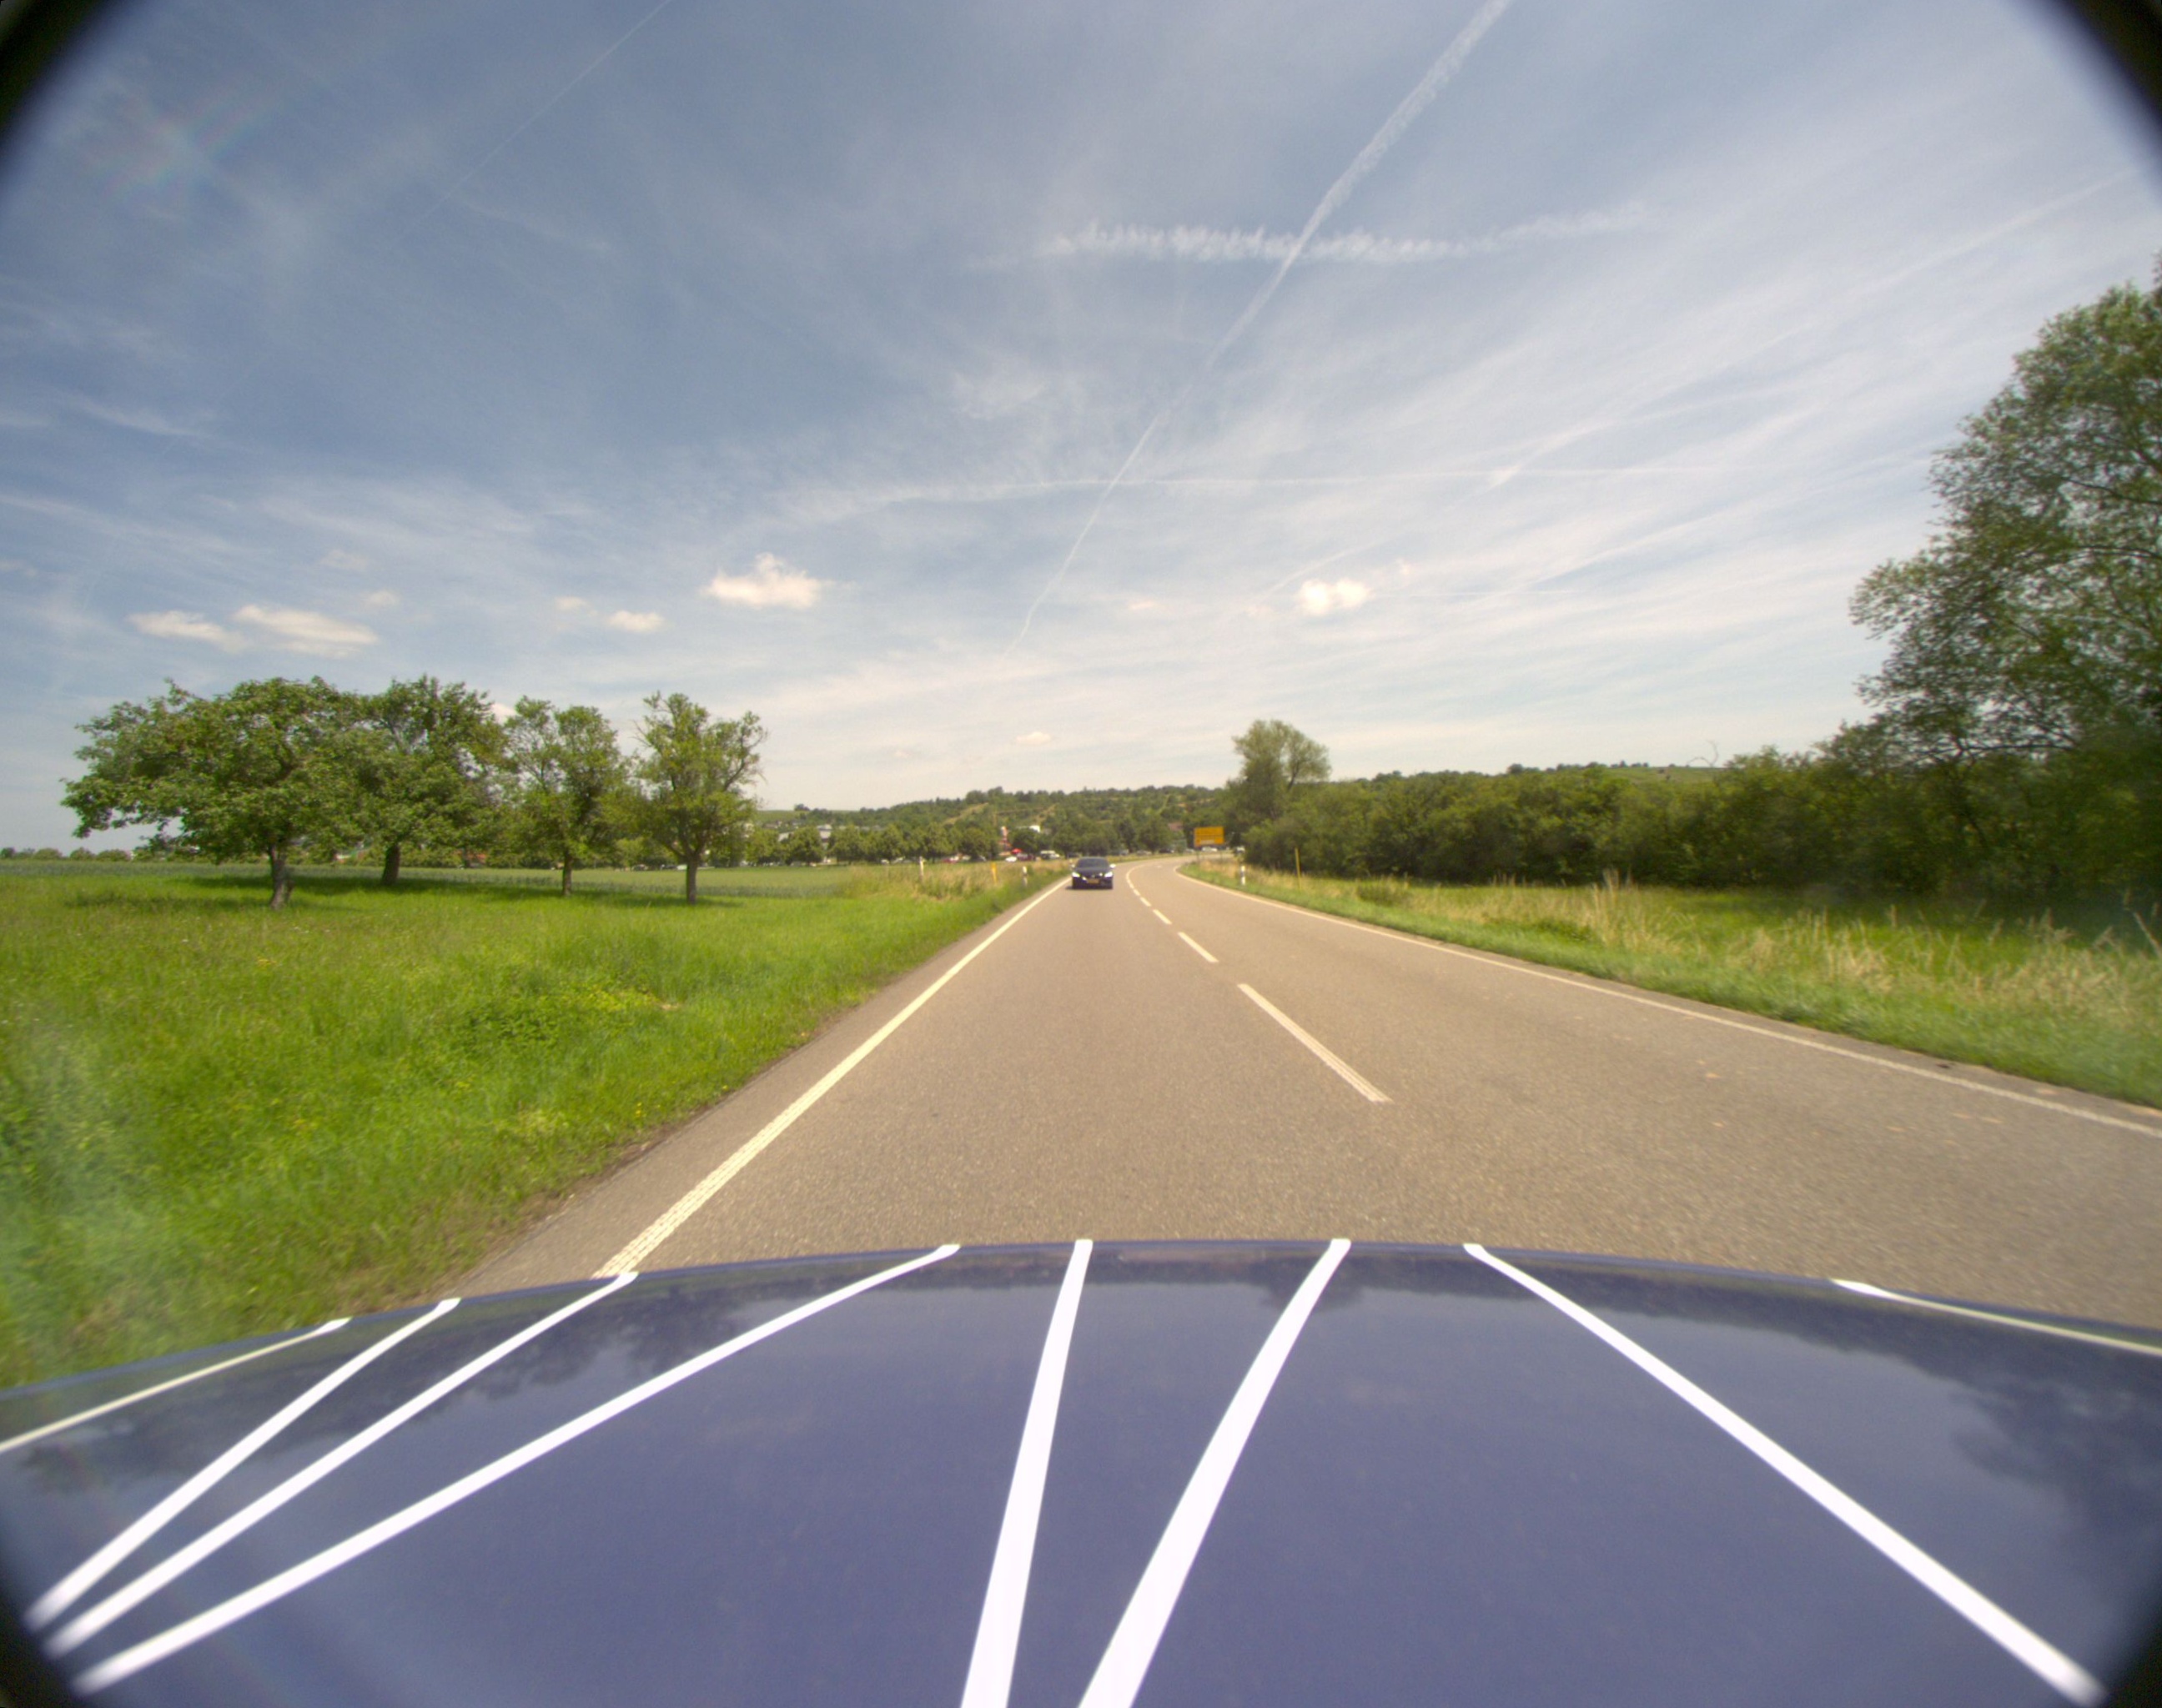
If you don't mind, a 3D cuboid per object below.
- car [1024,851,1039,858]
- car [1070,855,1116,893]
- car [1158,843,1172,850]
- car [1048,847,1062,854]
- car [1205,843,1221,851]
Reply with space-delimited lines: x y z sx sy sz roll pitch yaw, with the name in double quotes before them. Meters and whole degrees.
"car" -14.410 0.194 222.560 4.469 2.002 1.887 0 1 -3
"car" 0.578 0.812 32.985 1.785 1.440 4.605 0 1 3
"car" 24.069 -2.041 217.912 3.994 2.002 1.889 0 1 9
"car" -7.644 -0.910 222.300 3.997 2.002 1.887 0 1 -1
"car" 36.733 -1.939 211.569 3.989 2.002 1.891 0 1 31
